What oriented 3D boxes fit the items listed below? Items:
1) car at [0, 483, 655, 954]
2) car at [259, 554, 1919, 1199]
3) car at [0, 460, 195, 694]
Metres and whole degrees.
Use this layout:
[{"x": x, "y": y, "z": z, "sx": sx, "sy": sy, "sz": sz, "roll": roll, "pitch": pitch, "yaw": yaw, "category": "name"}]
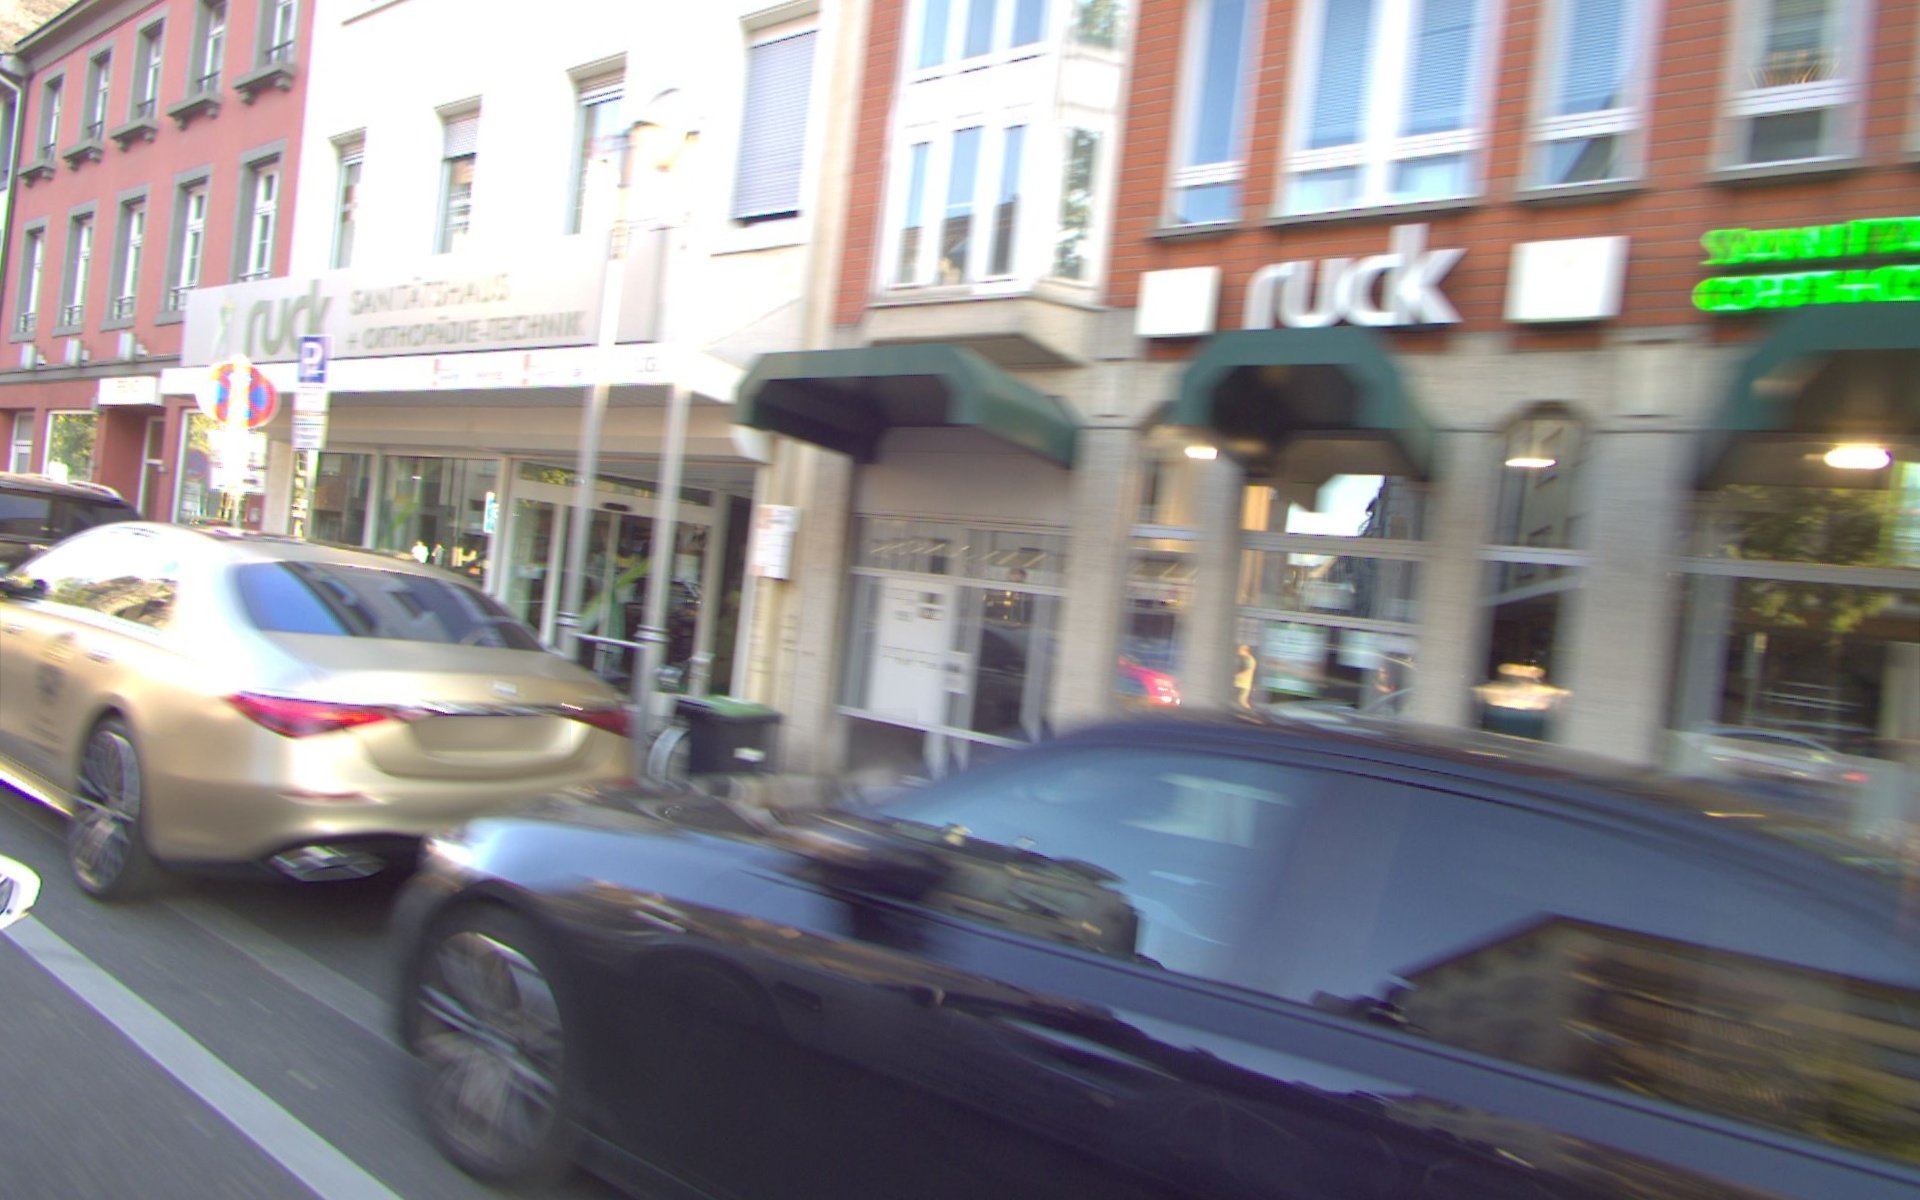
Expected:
[{"x": -4.089, "y": 0.307, "z": 5.522, "sx": 4.914, "sy": 1.545, "sz": 1.814, "roll": 6, "pitch": -2, "yaw": 34, "category": "car"}, {"x": 0.431, "y": 0.905, "z": 2.469, "sx": 4.434, "sy": 1.437, "sz": 1.756, "roll": 7, "pitch": -1, "yaw": 31, "category": "car"}, {"x": -9.381, "y": -0.377, "z": 9.283, "sx": 4.975, "sy": 1.775, "sz": 1.887, "roll": 6, "pitch": -2, "yaw": 31, "category": "car"}]
